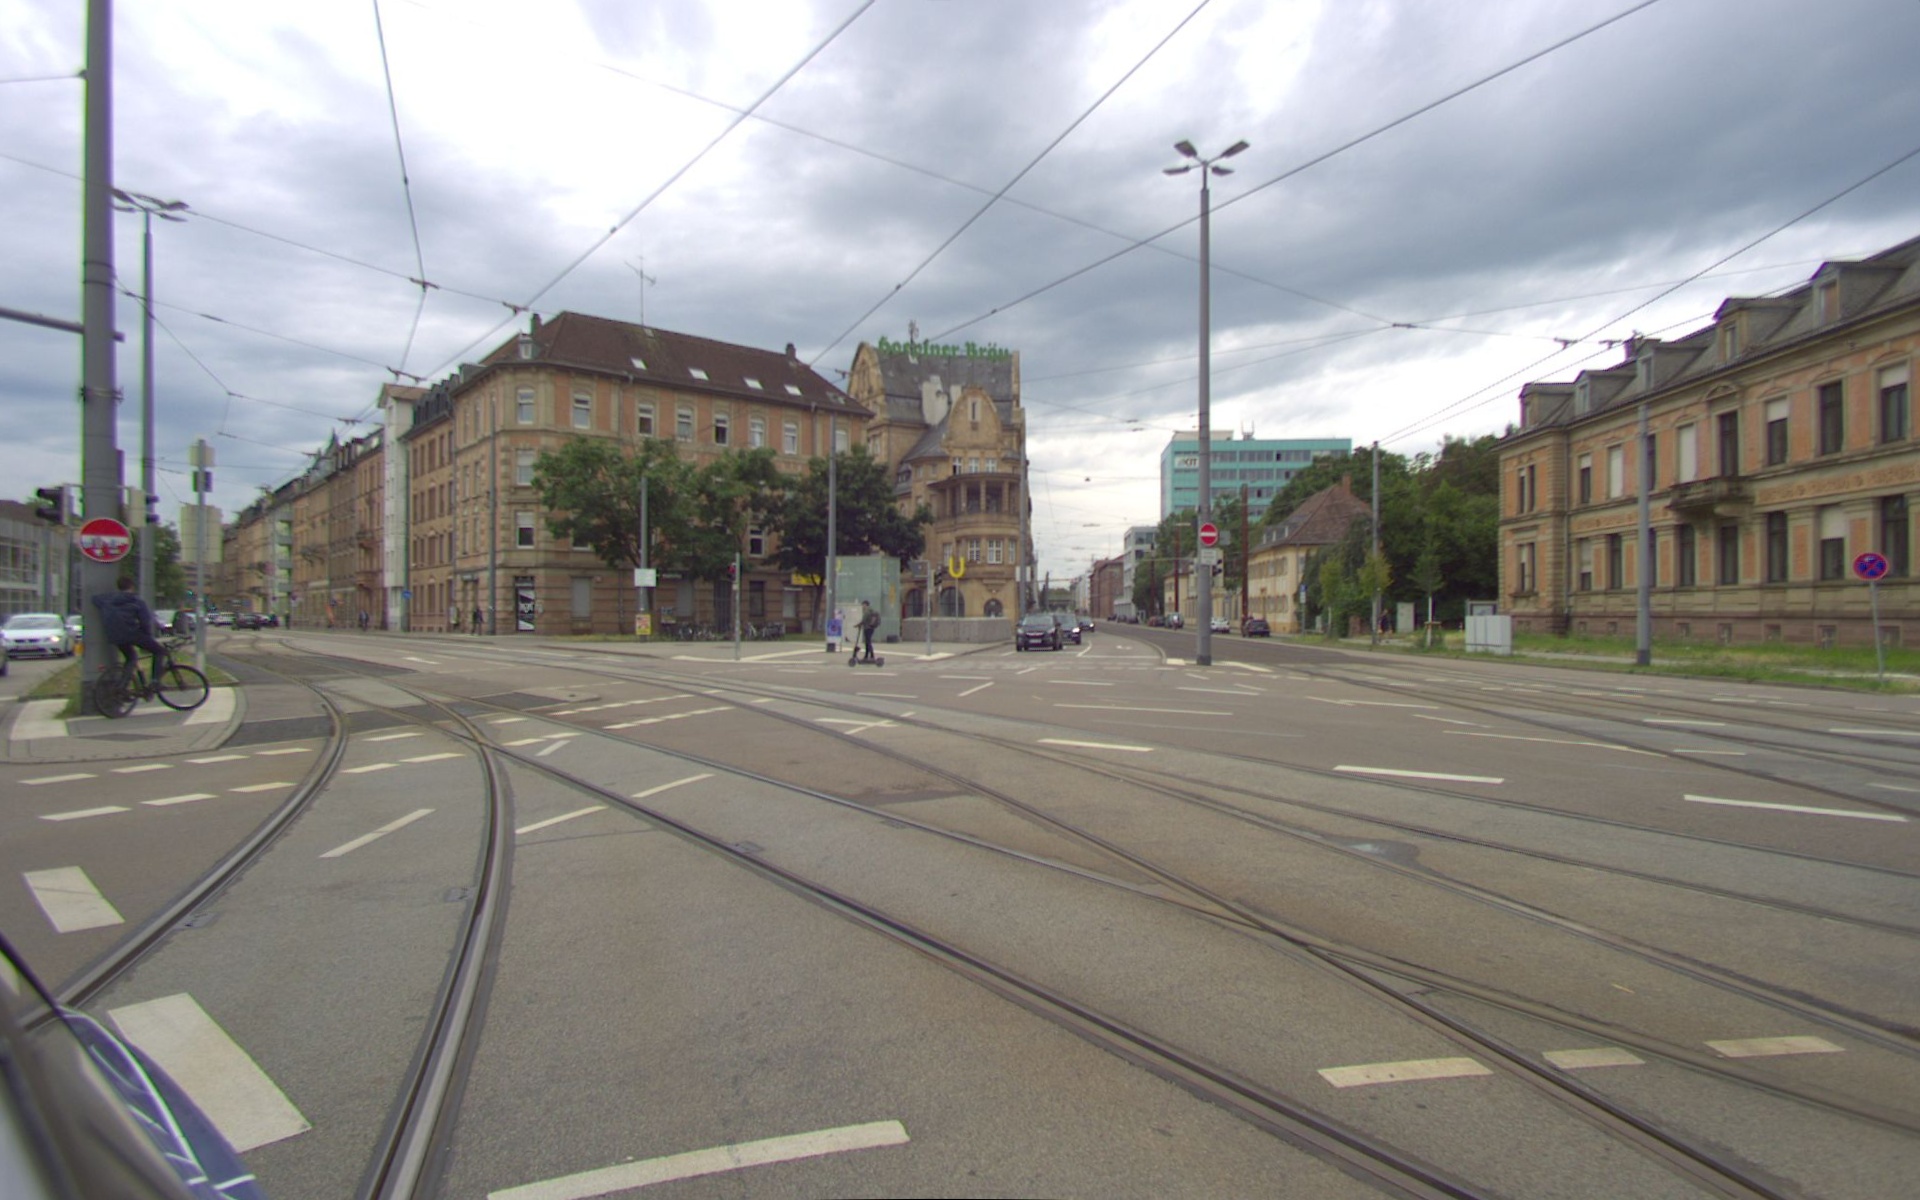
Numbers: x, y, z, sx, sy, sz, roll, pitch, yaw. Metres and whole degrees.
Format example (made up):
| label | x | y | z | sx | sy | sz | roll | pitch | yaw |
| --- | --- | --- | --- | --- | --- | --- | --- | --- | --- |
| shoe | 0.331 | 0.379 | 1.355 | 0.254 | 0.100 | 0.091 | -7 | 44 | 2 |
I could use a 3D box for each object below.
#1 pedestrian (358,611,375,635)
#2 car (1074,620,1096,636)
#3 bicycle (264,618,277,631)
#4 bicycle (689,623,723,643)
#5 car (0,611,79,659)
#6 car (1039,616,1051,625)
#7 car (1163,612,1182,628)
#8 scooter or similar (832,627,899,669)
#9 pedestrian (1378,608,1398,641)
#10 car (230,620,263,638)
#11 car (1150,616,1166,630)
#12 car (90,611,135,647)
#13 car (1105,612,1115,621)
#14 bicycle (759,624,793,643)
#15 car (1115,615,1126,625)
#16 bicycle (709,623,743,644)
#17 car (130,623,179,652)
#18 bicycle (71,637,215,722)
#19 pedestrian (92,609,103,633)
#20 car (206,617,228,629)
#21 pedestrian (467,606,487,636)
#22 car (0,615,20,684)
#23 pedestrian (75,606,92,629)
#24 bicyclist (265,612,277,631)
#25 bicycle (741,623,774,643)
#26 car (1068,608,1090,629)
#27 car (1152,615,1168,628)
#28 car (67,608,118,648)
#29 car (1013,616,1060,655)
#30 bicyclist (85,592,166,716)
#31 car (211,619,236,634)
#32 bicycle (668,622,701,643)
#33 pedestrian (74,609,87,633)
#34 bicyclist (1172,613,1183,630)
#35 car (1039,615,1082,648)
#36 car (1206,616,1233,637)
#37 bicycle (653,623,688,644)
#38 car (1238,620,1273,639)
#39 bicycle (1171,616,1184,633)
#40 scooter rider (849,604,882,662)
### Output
| label | x | y | z | sx | sy | sz | roll | pitch | yaw |
| --- | --- | --- | --- | --- | --- | --- | --- | --- | --- |
| pedestrian | -46.488 | 1.830 | 79.298 | 0.714 | 1.846 | 0.915 | -1 | -2 | 15 |
| car | 11.856 | 2.619 | 96.291 | 1.809 | 1.477 | 3.998 | 0 | -1 | 3 |
| bicycle | -68.174 | 2.402 | 100.078 | 0.786 | 1.302 | 2.415 | 1 | -1 | -40 |
| bicycle | -13.431 | 1.742 | 53.428 | 0.743 | 1.038 | 2.400 | 1 | -1 | -40 |
| car | -29.805 | 1.095 | 32.592 | 1.942 | 1.467 | 4.201 | 1 | -2 | -38 |
| car | 14.415 | 3.448 | 172.003 | 1.809 | 1.477 | 3.998 | 0 | -1 | 3 |
| car | 26.421 | 2.491 | 126.161 | 1.976 | 1.863 | 3.990 | 0 | -1 | 7 |
| scooter or similar | -2.742 | 1.379 | 29.366 | 1.891 | 1.174 | 0.571 | 0 | -1 | 18 |
| pedestrian | 24.355 | 1.395 | 57.559 | 0.800 | 1.846 | 0.848 | 0 | -1 | 7 |
| car | -62.353 | 2.528 | 88.402 | 1.860 | 1.481 | 4.470 | 1 | -1 | -42 |
| car | 28.661 | 3.322 | 146.316 | 1.976 | 1.863 | 3.990 | 0 | -1 | 7 |
| car | -50.336 | 1.691 | 60.163 | 1.968 | 2.029 | 4.007 | 1 | -1 | -39 |
| car | 35.503 | 3.919 | 240.038 | 1.975 | 2.029 | 3.994 | 0 | -1 | 5 |
| bicycle | -10.145 | 1.843 | 55.714 | 0.743 | 1.038 | 2.400 | 1 | -1 | -40 |
| car | 32.954 | 4.017 | 207.965 | 1.975 | 2.029 | 3.994 | 0 | -1 | 5 |
| bicycle | -12.456 | 1.771 | 53.876 | 0.743 | 1.038 | 2.400 | 1 | -1 | -40 |
| car | -52.827 | 2.437 | 66.486 | 2.335 | 1.768 | 5.140 | 1 | -1 | -37 |
| bicycle | -11.322 | 1.076 | 14.090 | 0.522 | 1.078 | 1.609 | 0 | -1 | 10 |
| pedestrian | -69.208 | 1.695 | 81.163 | 0.642 | 1.930 | 0.603 | 1 | -1 | -40 |
| car | -91.872 | 2.878 | 125.170 | 1.788 | 1.442 | 4.023 | 1 | -1 | -42 |
| pedestrian | -27.864 | 1.196 | 58.361 | 0.800 | 1.688 | 0.799 | 1 | -2 | -44 |
| car | -21.312 | 1.021 | 21.593 | 1.784 | 1.417 | 3.986 | 1 | -2 | -44 |
| pedestrian | -80.414 | 1.618 | 92.853 | 1.159 | 2.029 | 1.034 | 1 | -1 | -40 |
| bicyclist | -68.052 | 2.111 | 99.968 | 0.811 | 1.881 | 0.925 | 1 | -1 | -40 |
| bicycle | -11.009 | 1.761 | 54.951 | 0.743 | 1.038 | 2.400 | 1 | -1 | -40 |
| car | 10.121 | 1.585 | 86.245 | 1.810 | 1.773 | 3.995 | 0 | -1 | 6 |
| car | 27.834 | 3.014 | 140.867 | 1.976 | 1.863 | 3.990 | 0 | -1 | 7 |
| car | -46.052 | 1.479 | 53.783 | 1.968 | 2.029 | 4.007 | 1 | -1 | -39 |
| car | 3.317 | 1.526 | 44.452 | 1.974 | 1.623 | 4.240 | 0 | -1 | 3 |
| bicyclist | -11.375 | 0.720 | 13.810 | 0.512 | 1.651 | 0.653 | 0 | -1 | 11 |
| car | -82.777 | 2.991 | 113.729 | 1.808 | 1.658 | 4.236 | 1 | -1 | -42 |
| bicycle | -14.317 | 1.669 | 52.529 | 0.743 | 1.038 | 2.400 | 1 | -1 | -40 |
| pedestrian | -61.584 | 1.453 | 70.869 | 0.653 | 1.693 | 0.651 | 1 | -2 | -41 |
| bicyclist | 23.553 | 2.344 | 109.840 | 1.080 | 1.796 | 1.014 | 0 | -1 | 8 |
| car | 5.480 | 1.698 | 55.717 | 2.134 | 1.727 | 4.919 | 0 | -1 | 3 |
| car | 24.326 | 2.497 | 94.947 | 1.976 | 1.863 | 3.990 | 0 | -2 | 8 |
| bicycle | -14.914 | 1.717 | 52.015 | 0.824 | 1.038 | 2.400 | 1 | -1 | -40 |
| car | 22.907 | 2.248 | 78.487 | 1.976 | 1.442 | 3.990 | 0 | -1 | 7 |
| bicycle | 23.559 | 2.653 | 109.817 | 1.073 | 1.763 | 3.079 | 0 | -1 | 7 |
| scooter rider | -2.730 | 0.954 | 29.374 | 0.815 | 1.640 | 0.566 | -1 | -1 | 17 |
